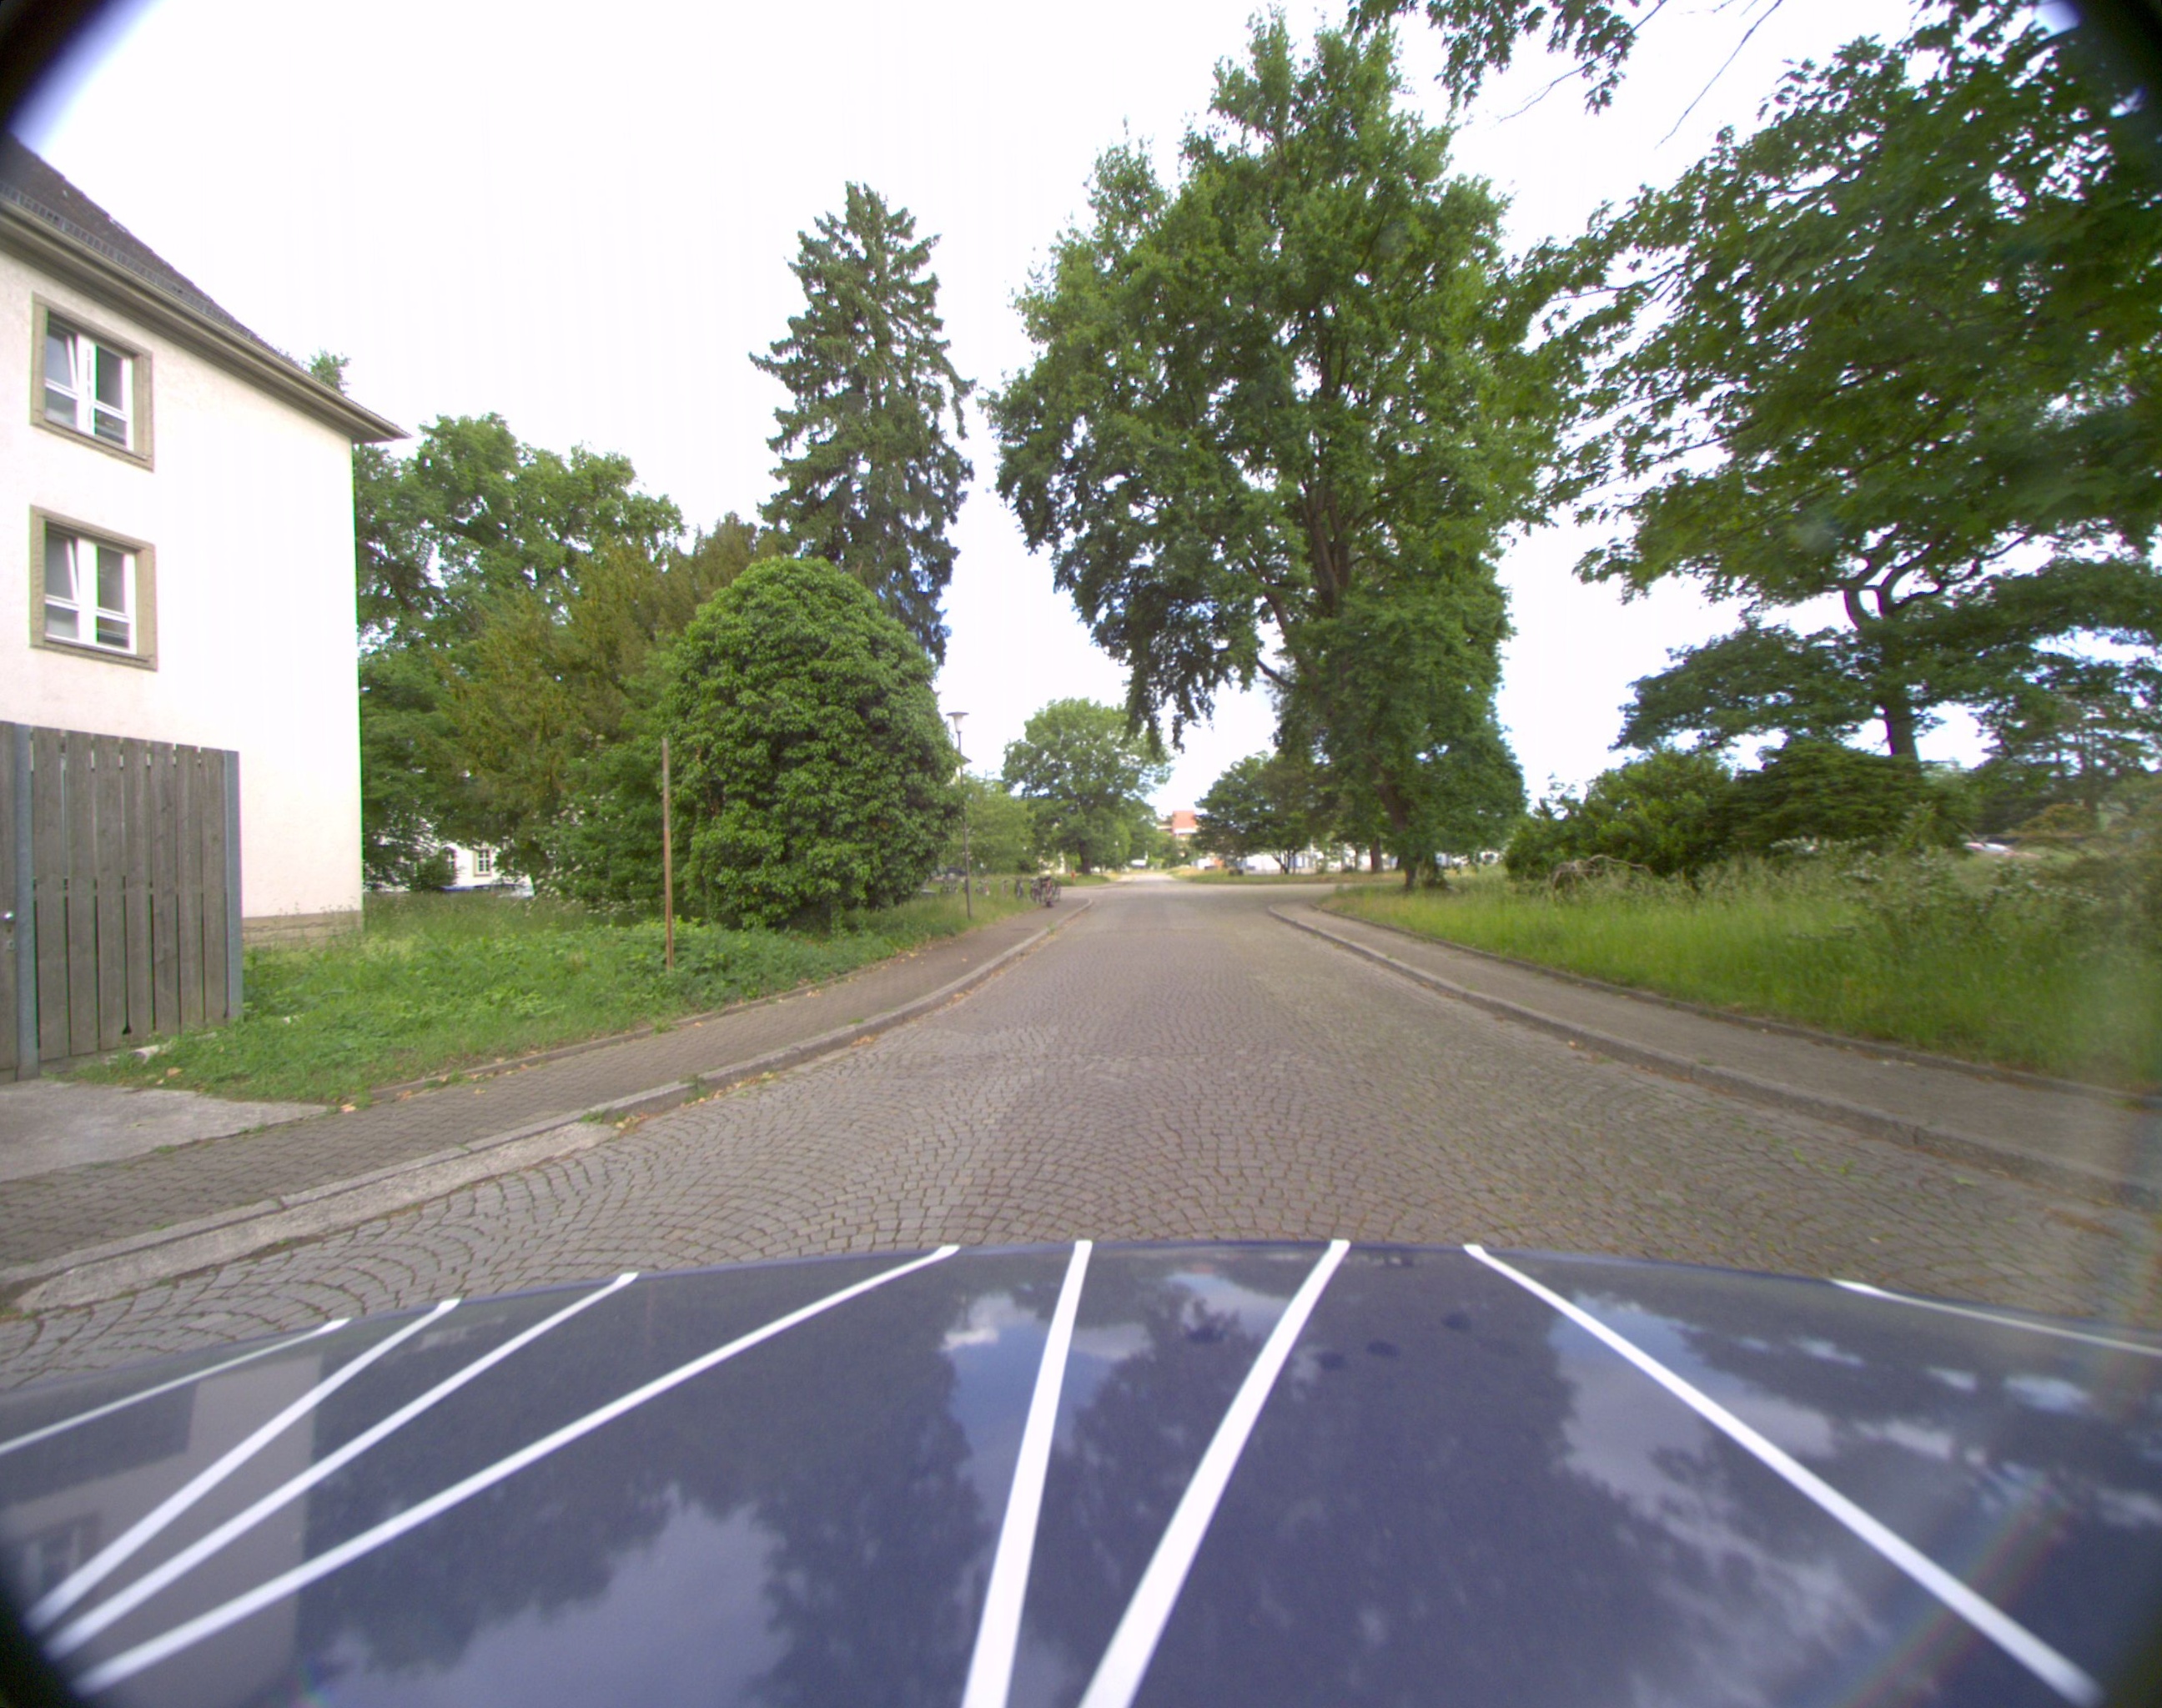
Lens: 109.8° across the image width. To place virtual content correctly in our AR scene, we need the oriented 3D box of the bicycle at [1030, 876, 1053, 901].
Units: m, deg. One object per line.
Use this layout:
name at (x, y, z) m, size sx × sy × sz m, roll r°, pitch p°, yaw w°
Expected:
bicycle at (-1.825, 1.562, 34.903) m, size 0.478 × 1.068 × 1.619 m, roll -3°, pitch 1°, yaw -26°

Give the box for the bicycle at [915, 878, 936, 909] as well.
bicycle at (-6.330, 1.604, 30.971) m, size 0.551 × 1.164 × 1.754 m, roll -2°, pitch -1°, yaw -3°

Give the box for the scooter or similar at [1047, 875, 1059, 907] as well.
scooter or similar at (-1.102, 1.452, 29.719) m, size 0.357 × 1.202 × 1.138 m, roll -2°, pitch 0°, yaw 1°

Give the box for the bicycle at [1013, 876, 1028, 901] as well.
bicycle at (-2.743, 1.545, 34.460) m, size 0.478 × 1.002 × 1.666 m, roll -2°, pitch 1°, yaw -11°

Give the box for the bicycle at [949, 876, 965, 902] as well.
bicycle at (-5.565, 1.557, 34.086) m, size 0.478 × 1.105 × 1.763 m, roll -2°, pitch -1°, yaw -17°

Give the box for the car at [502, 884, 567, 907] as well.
car at (-32.815, 2.474, 45.710) m, size 1.295 × 1.210 × 3.251 m, roll -2°, pitch -1°, yaw 5°

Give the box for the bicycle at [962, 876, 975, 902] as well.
bicycle at (-5.037, 1.536, 33.996) m, size 0.478 × 1.105 × 1.764 m, roll -2°, pitch -1°, yaw -11°

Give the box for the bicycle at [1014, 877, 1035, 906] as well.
bicycle at (-2.292, 1.512, 30.858) m, size 0.551 × 1.108 × 1.803 m, roll -2°, pitch -1°, yaw -12°

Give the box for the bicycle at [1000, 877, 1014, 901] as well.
bicycle at (-3.362, 1.567, 34.405) m, size 0.478 × 1.002 × 1.666 m, roll -2°, pitch 1°, yaw -11°

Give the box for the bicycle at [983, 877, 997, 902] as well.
bicycle at (-4.138, 1.596, 34.390) m, size 0.478 × 1.002 × 1.666 m, roll -2°, pitch 1°, yaw -11°

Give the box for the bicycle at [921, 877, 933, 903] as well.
bicycle at (-6.839, 1.597, 33.772) m, size 0.478 × 1.105 × 1.764 m, roll -2°, pitch -1°, yaw -11°

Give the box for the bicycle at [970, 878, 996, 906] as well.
bicycle at (-3.975, 1.520, 30.616) m, size 0.619 × 1.058 × 1.823 m, roll -2°, pitch -1°, yaw -20°

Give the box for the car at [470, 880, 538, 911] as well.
car at (-35.043, 2.501, 46.250) m, size 1.438 × 1.651 × 3.251 m, roll -2°, pitch -1°, yaw 5°

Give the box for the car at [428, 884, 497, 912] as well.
car at (-38.223, 2.680, 47.062) m, size 1.383 × 1.555 × 3.251 m, roll -2°, pitch -1°, yaw 5°

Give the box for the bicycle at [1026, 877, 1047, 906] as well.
bicycle at (-1.823, 1.499, 31.022) m, size 0.551 × 1.108 × 1.768 m, roll -2°, pitch -1°, yaw -12°

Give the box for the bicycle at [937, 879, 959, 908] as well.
bicycle at (-5.308, 1.561, 30.249) m, size 0.552 × 1.058 × 1.751 m, roll -2°, pitch -1°, yaw -20°

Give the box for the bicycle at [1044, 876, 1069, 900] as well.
bicycle at (-1.122, 1.557, 34.813) m, size 0.478 × 1.002 × 1.619 m, roll -3°, pitch 1°, yaw -26°
